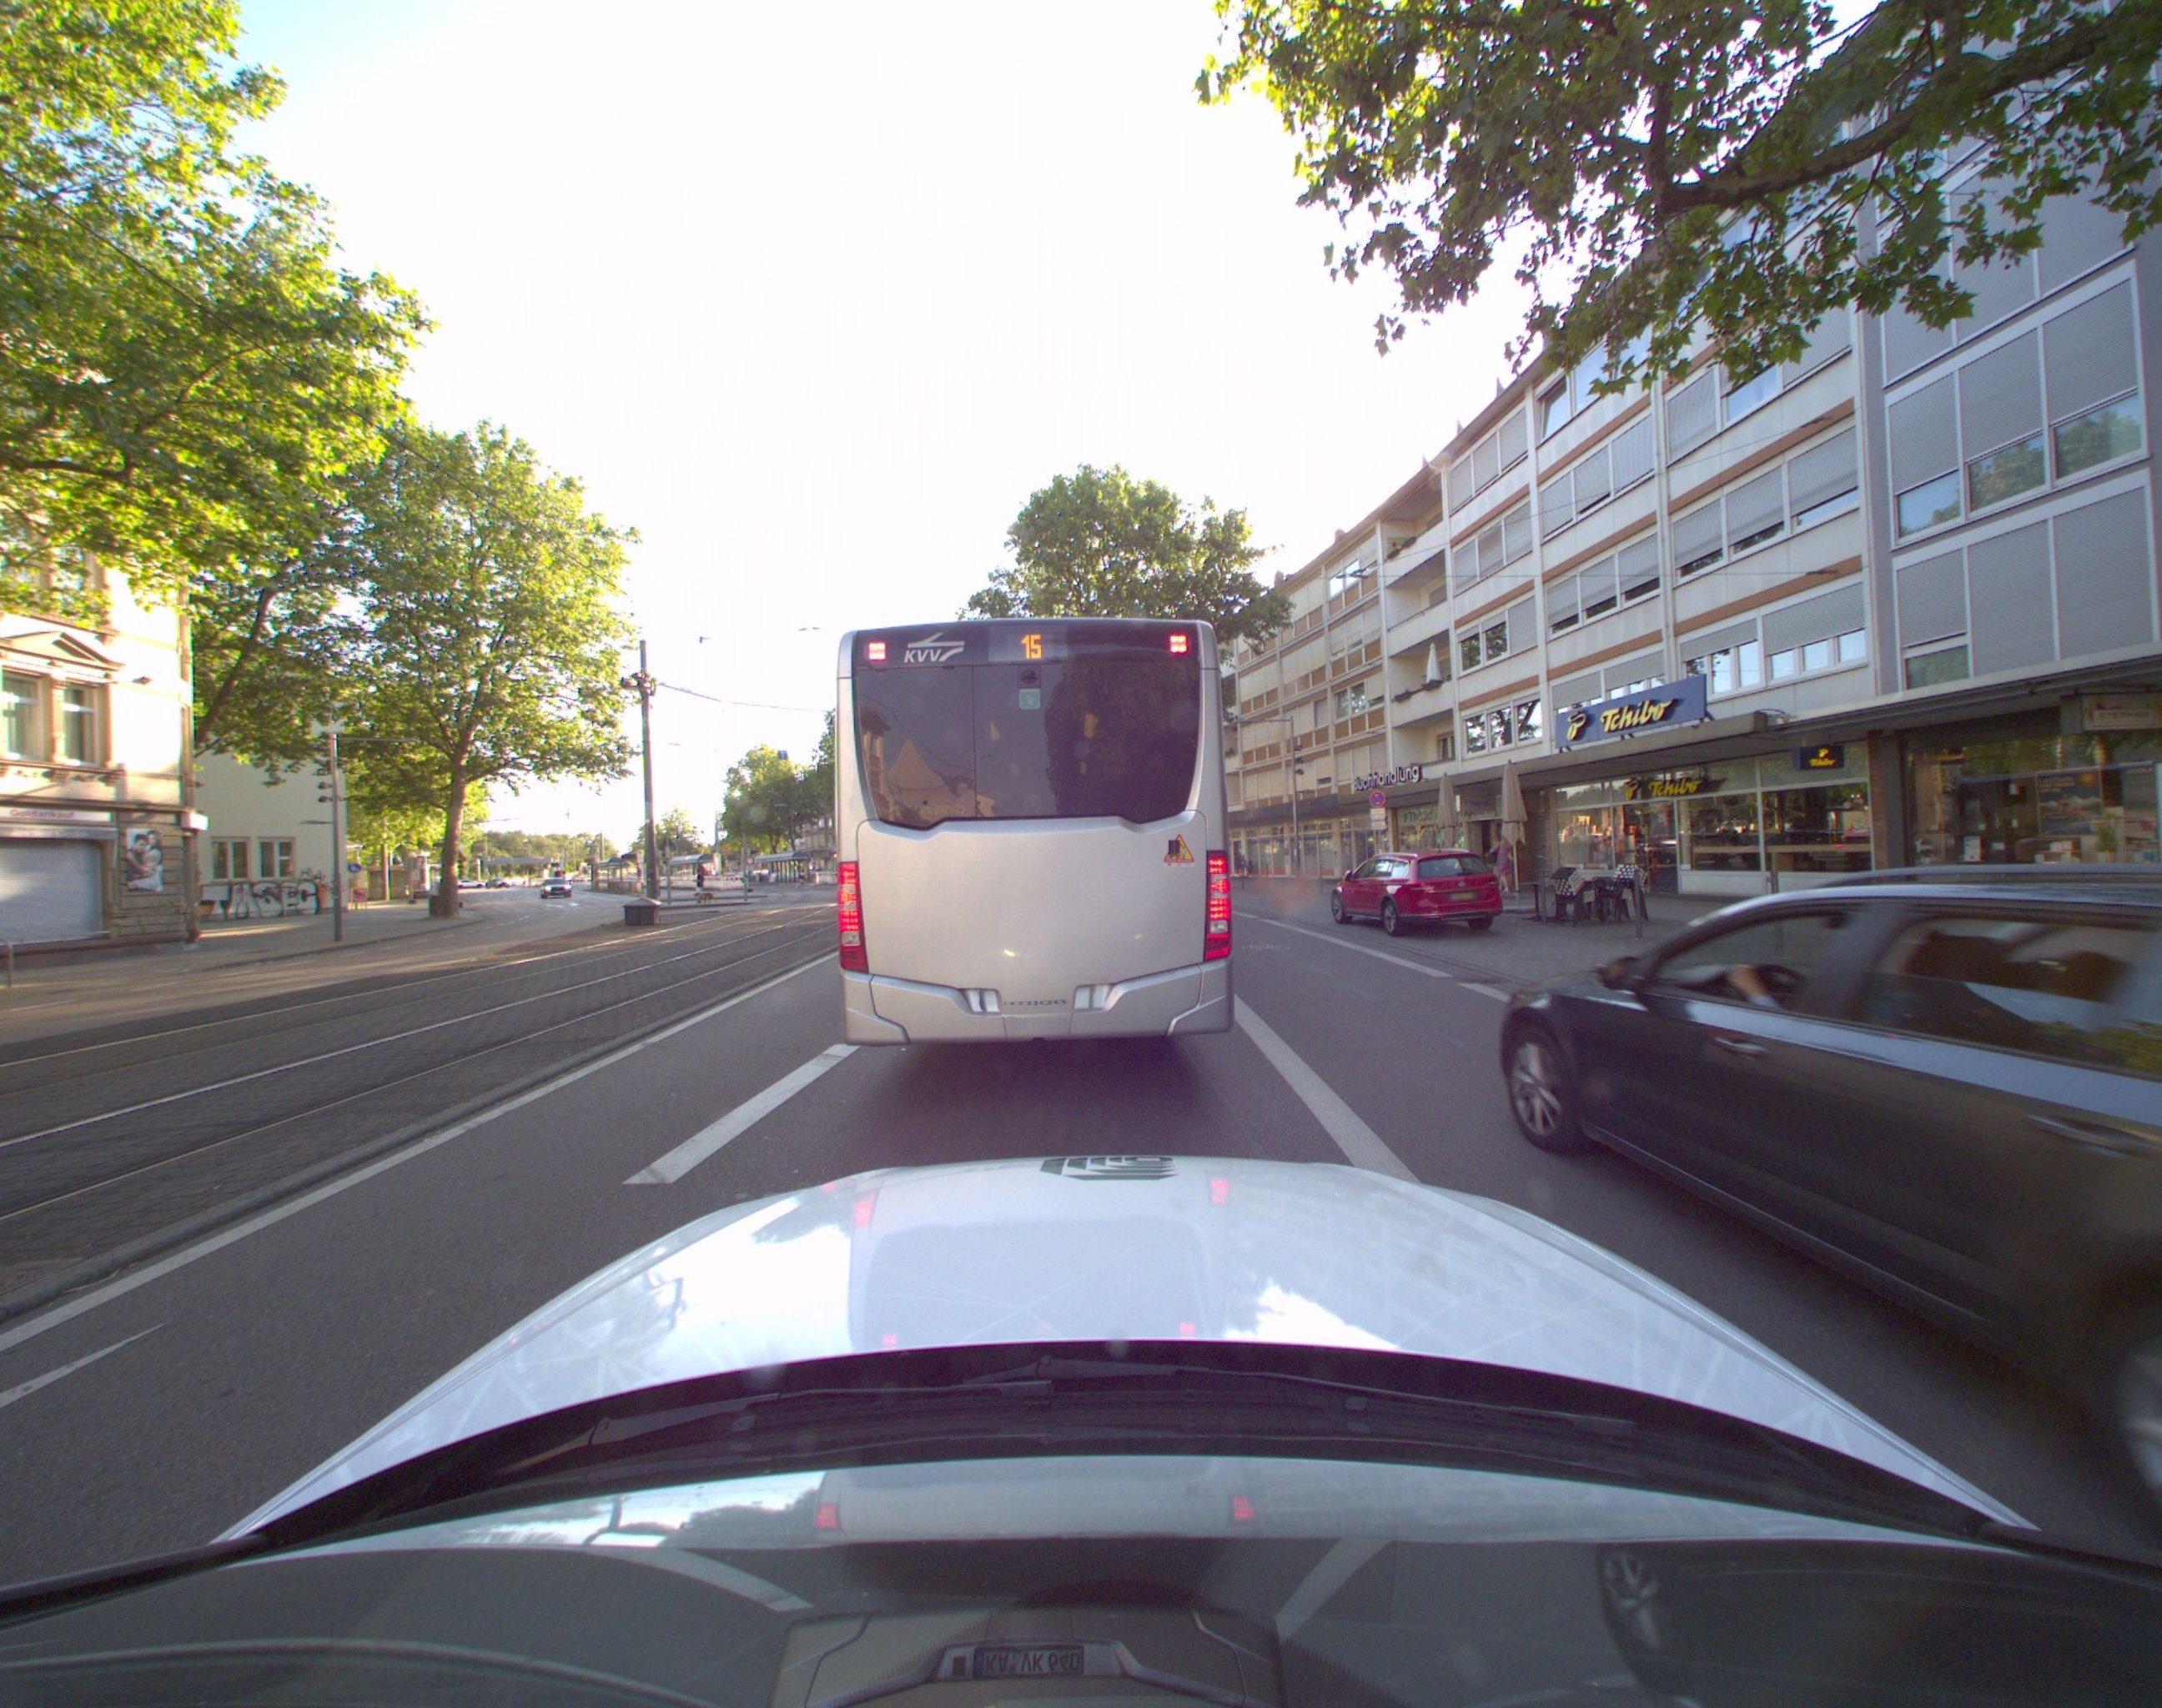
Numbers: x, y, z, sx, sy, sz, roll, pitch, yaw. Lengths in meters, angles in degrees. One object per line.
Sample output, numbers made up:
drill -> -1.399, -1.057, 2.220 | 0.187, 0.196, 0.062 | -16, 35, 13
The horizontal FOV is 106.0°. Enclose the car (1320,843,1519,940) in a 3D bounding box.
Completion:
car -> 6.359, 0.638, 15.960 | 1.774, 1.496, 4.563 | -4, 0, -2

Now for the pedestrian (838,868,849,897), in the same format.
pedestrian -> -12.295, 1.463, 42.149 | 0.410, 1.504, 0.513 | -2, -1, -22

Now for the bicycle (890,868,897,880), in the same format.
bicycle -> -19.695, 2.100, 85.580 | 0.508, 1.211, 2.079 | -2, 0, -19

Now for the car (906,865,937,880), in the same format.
car -> -15.990, 1.853, 81.531 | 1.675, 1.394, 3.374 | -6, 2, -37

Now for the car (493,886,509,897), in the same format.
car -> -87.846, 5.648, 123.325 | 1.900, 1.585, 4.161 | -2, -1, -35

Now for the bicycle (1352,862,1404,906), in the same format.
bicycle -> 7.846, 0.776, 21.574 | 0.511, 1.070, 1.657 | -4, 0, -7

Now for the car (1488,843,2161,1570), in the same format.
car -> 3.133, 0.725, 2.588 | 1.796, 1.474, 4.074 | 0, -1, 2

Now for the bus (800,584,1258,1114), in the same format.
bus -> -0.303, 0.015, 10.025 | 2.649, 3.099, 10.214 | -2, -1, 0

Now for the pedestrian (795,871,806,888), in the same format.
pedestrian -> -21.966, 1.982, 63.780 | 0.779, 1.303, 0.590 | -2, -1, -19

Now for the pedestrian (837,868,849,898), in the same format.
pedestrian -> -12.131, 1.494, 41.536 | 0.522, 1.504, 0.589 | -2, -1, -21

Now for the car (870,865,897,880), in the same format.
car -> -21.525, 2.044, 88.727 | 1.675, 1.468, 3.375 | -6, 2, -36

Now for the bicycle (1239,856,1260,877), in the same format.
bicycle -> 9.368, 0.691, 45.377 | 0.438, 1.092, 1.453 | -5, 0, -18

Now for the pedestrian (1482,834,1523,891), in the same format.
pedestrian -> 11.917, 0.246, 23.027 | 0.638, 1.552, 0.806 | -2, -1, -6

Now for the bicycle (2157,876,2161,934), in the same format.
bicycle -> 8.715, 0.670, 5.515 | 0.294, 1.040, 1.711 | -5, 0, -12

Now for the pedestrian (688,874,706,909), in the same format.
pedestrian -> -19.136, 1.840, 40.617 | 0.426, 1.710, 0.681 | -1, -1, 33

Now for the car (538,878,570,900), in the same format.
car -> -40.132, 2.640, 61.985 | 1.900, 1.472, 4.161 | -2, -1, -35
